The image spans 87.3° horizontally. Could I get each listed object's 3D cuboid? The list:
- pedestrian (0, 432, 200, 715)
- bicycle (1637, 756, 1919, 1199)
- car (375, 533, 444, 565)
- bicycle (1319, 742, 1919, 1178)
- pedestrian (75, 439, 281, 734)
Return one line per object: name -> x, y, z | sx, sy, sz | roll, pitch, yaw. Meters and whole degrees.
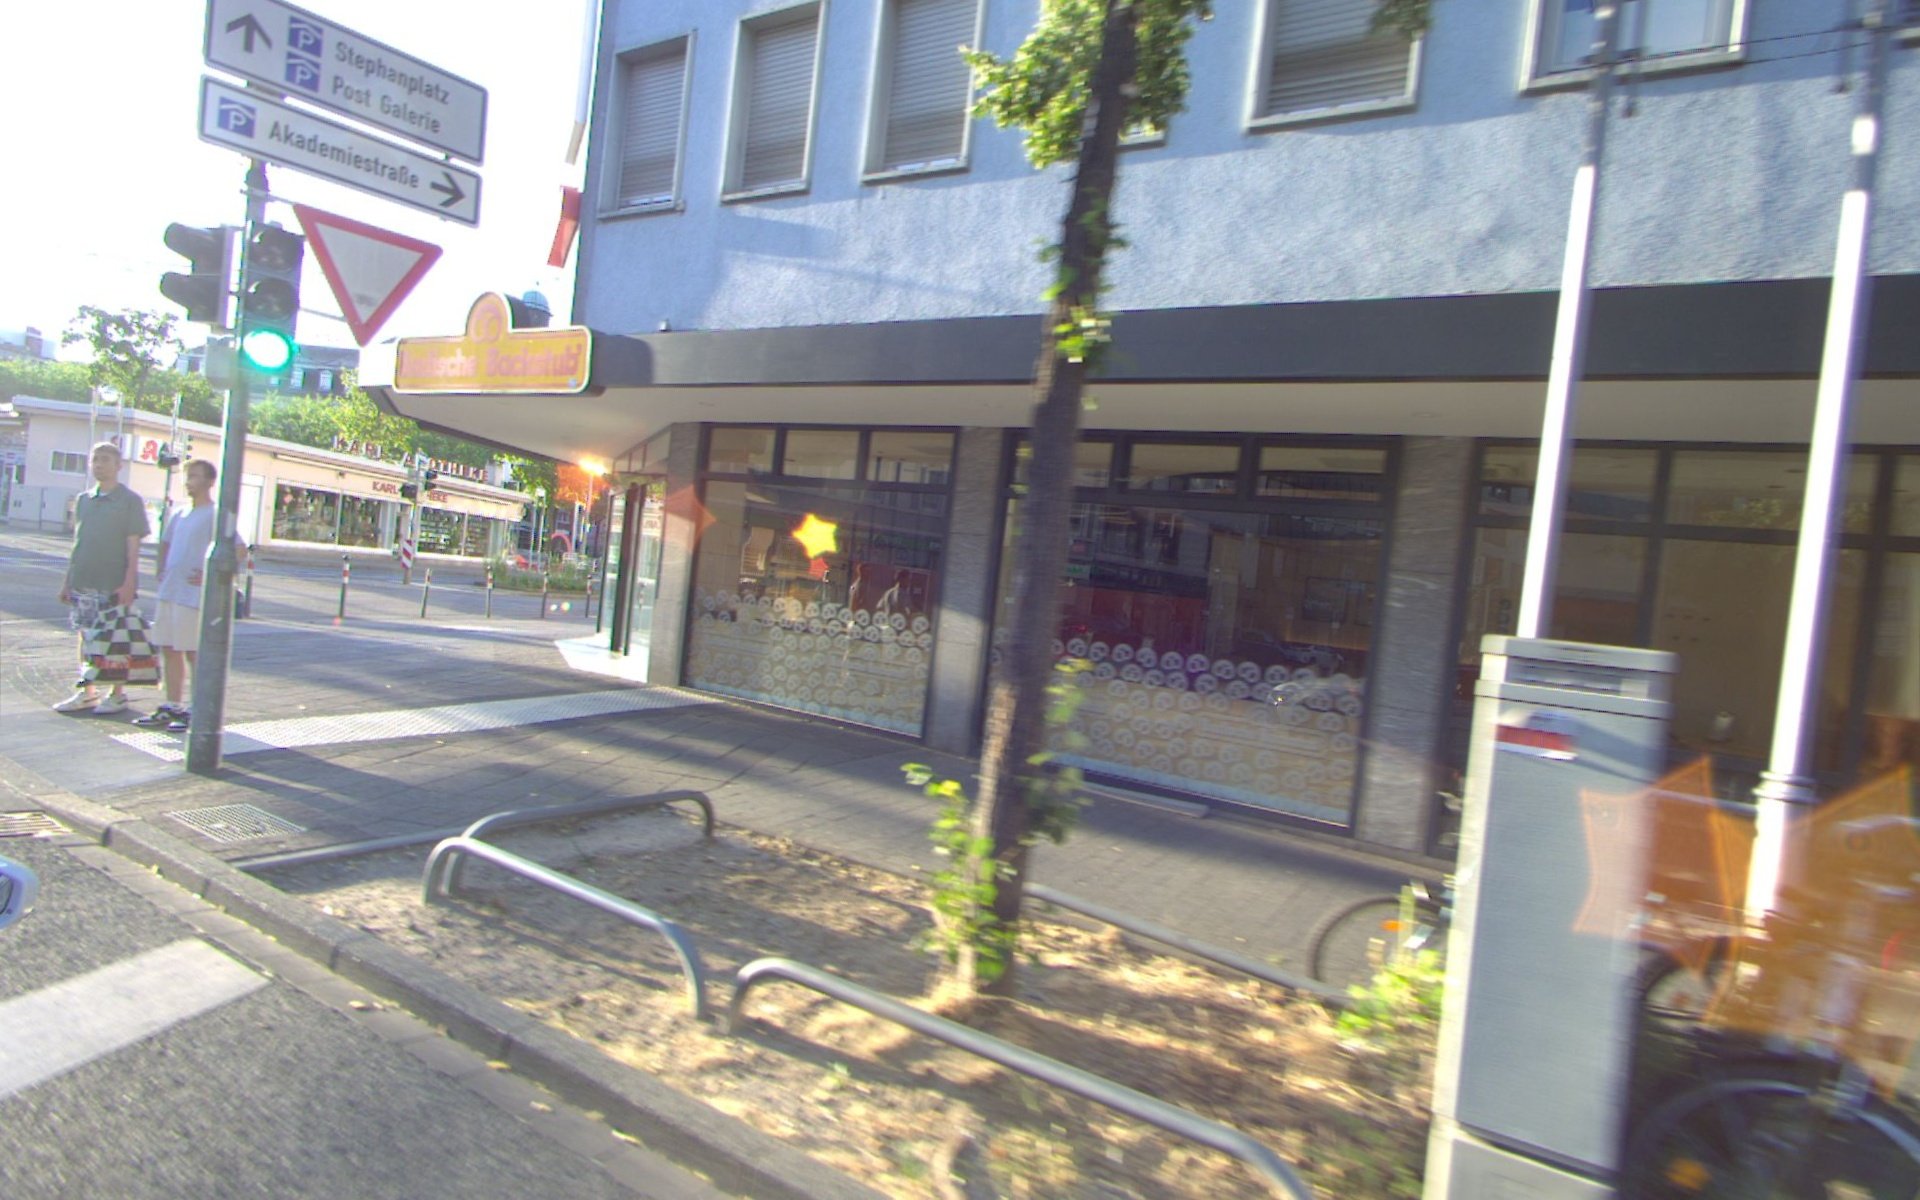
pedestrian -> -5.929, -0.172, 6.953 | 0.735, 1.795, 0.586 | 6, 1, 0
bicycle -> 2.053, 1.061, 2.302 | 0.469, 1.209, 1.661 | 8, 0, 26
car -> -39.324, -3.632, 72.028 | 1.769, 1.583, 4.686 | 7, -2, 8
bicycle -> 2.227, 1.174, 3.593 | 1.640, 1.024, 0.403 | 7, 3, 26
pedestrian -> -5.177, -0.086, 6.691 | 0.735, 1.796, 0.639 | 6, 1, 11
